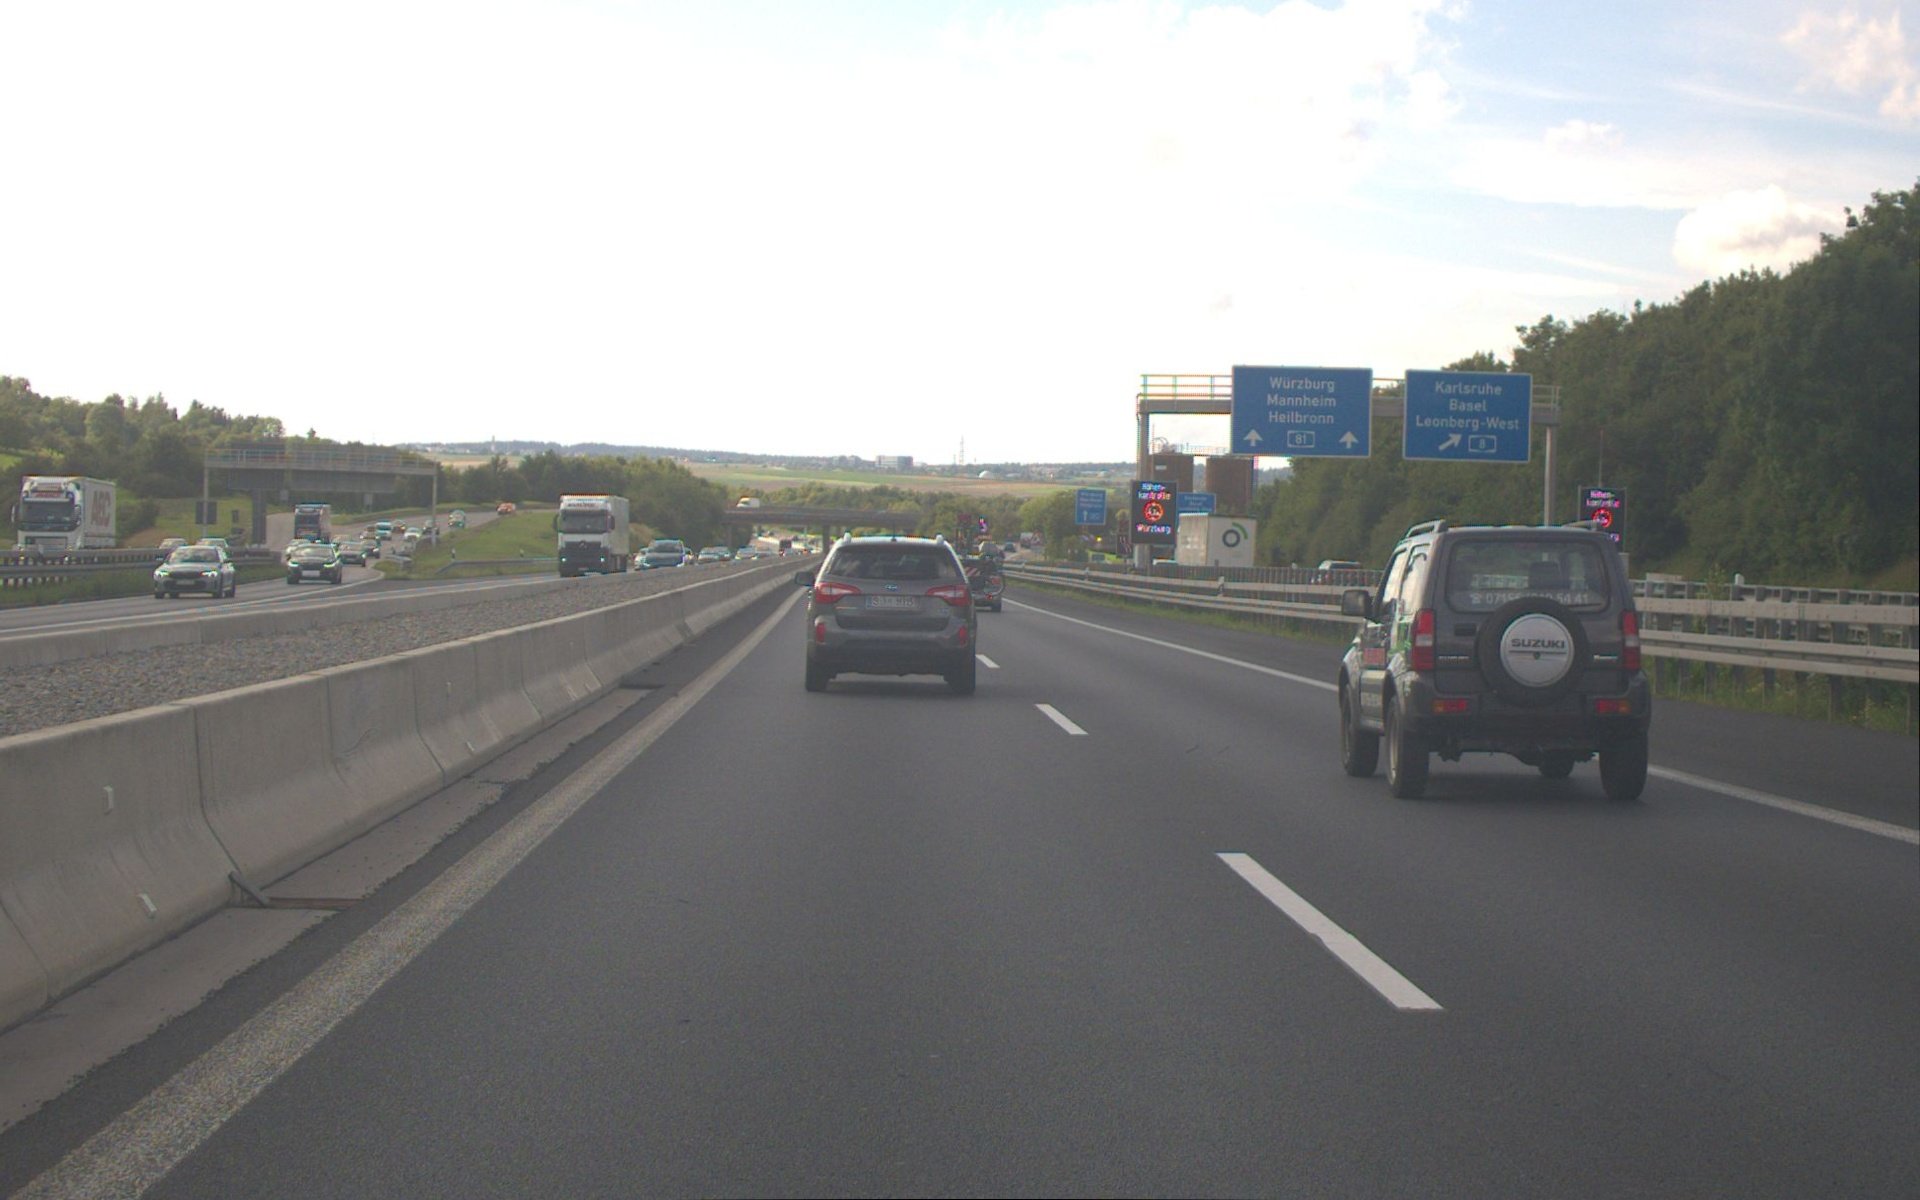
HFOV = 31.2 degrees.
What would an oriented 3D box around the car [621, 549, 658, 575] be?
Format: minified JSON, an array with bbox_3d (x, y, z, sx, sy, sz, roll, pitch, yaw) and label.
[{"bbox_3d":[-19.982,-2.379,214.538,1.993,1.612,5.003,1,1,-2],"label":"car"}]

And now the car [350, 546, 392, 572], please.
[{"bbox_3d":[-35.256,-2.467,205.814,1.942,1.489,4.128,1,1,-2],"label":"car"}]

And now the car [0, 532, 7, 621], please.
[{"bbox_3d":[-18.294,-0.422,60.424,1.798,1.625,4.754,1,1,-1],"label":"car"}]

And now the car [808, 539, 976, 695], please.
[{"bbox_3d":[-0.736,0.159,38.073,1.750,1.625,3.609,1,1,-1],"label":"car"}]

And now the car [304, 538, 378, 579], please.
[{"bbox_3d":[-23.197,-1.542,128.998,1.942,1.489,5.307,1,1,-2],"label":"car"}]

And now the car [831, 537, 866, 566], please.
[{"bbox_3d":[-7.240,-3.122,223.393,2.169,1.837,4.000,1,1,-1],"label":"car"}]

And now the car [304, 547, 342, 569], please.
[{"bbox_3d":[-43.600,-2.873,235.273,1.942,1.489,4.128,1,1,-2],"label":"car"}]

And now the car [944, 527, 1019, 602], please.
[{"bbox_3d":[0.596,-1.015,98.922,1.993,2.073,4.000,1,1,-2],"label":"car"}]

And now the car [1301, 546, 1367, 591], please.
[{"bbox_3d":[14.594,-1.232,134.290,1.993,1.711,4.000,1,1,-2],"label":"car"}]

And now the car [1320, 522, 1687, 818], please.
[{"bbox_3d":[3.490,0.400,22.778,1.666,1.726,4.207,2,1,-1],"label":"car"}]

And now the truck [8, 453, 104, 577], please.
[{"bbox_3d":[-38.588,-3.589,146.979,3.024,5.124,6.631,1,0,-7],"label":"truck"}]

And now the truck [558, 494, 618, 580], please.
[{"bbox_3d":[-18.182,-3.042,168.131,2.488,4.115,5.299,1,0,-2],"label":"truck"}]

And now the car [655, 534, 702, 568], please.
[{"bbox_3d":[-12.708,-2.194,155.319,1.847,1.489,4.973,1,1,-2],"label":"car"}]

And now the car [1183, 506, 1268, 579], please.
[{"bbox_3d":[13.904,-2.997,180.660,3.576,3.664,7.549,1,1,-2],"label":"car"}]

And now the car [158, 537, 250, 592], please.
[{"bbox_3d":[-21.243,-1.000,96.788,1.645,1.489,4.997,1,1,-2],"label":"car"}]
